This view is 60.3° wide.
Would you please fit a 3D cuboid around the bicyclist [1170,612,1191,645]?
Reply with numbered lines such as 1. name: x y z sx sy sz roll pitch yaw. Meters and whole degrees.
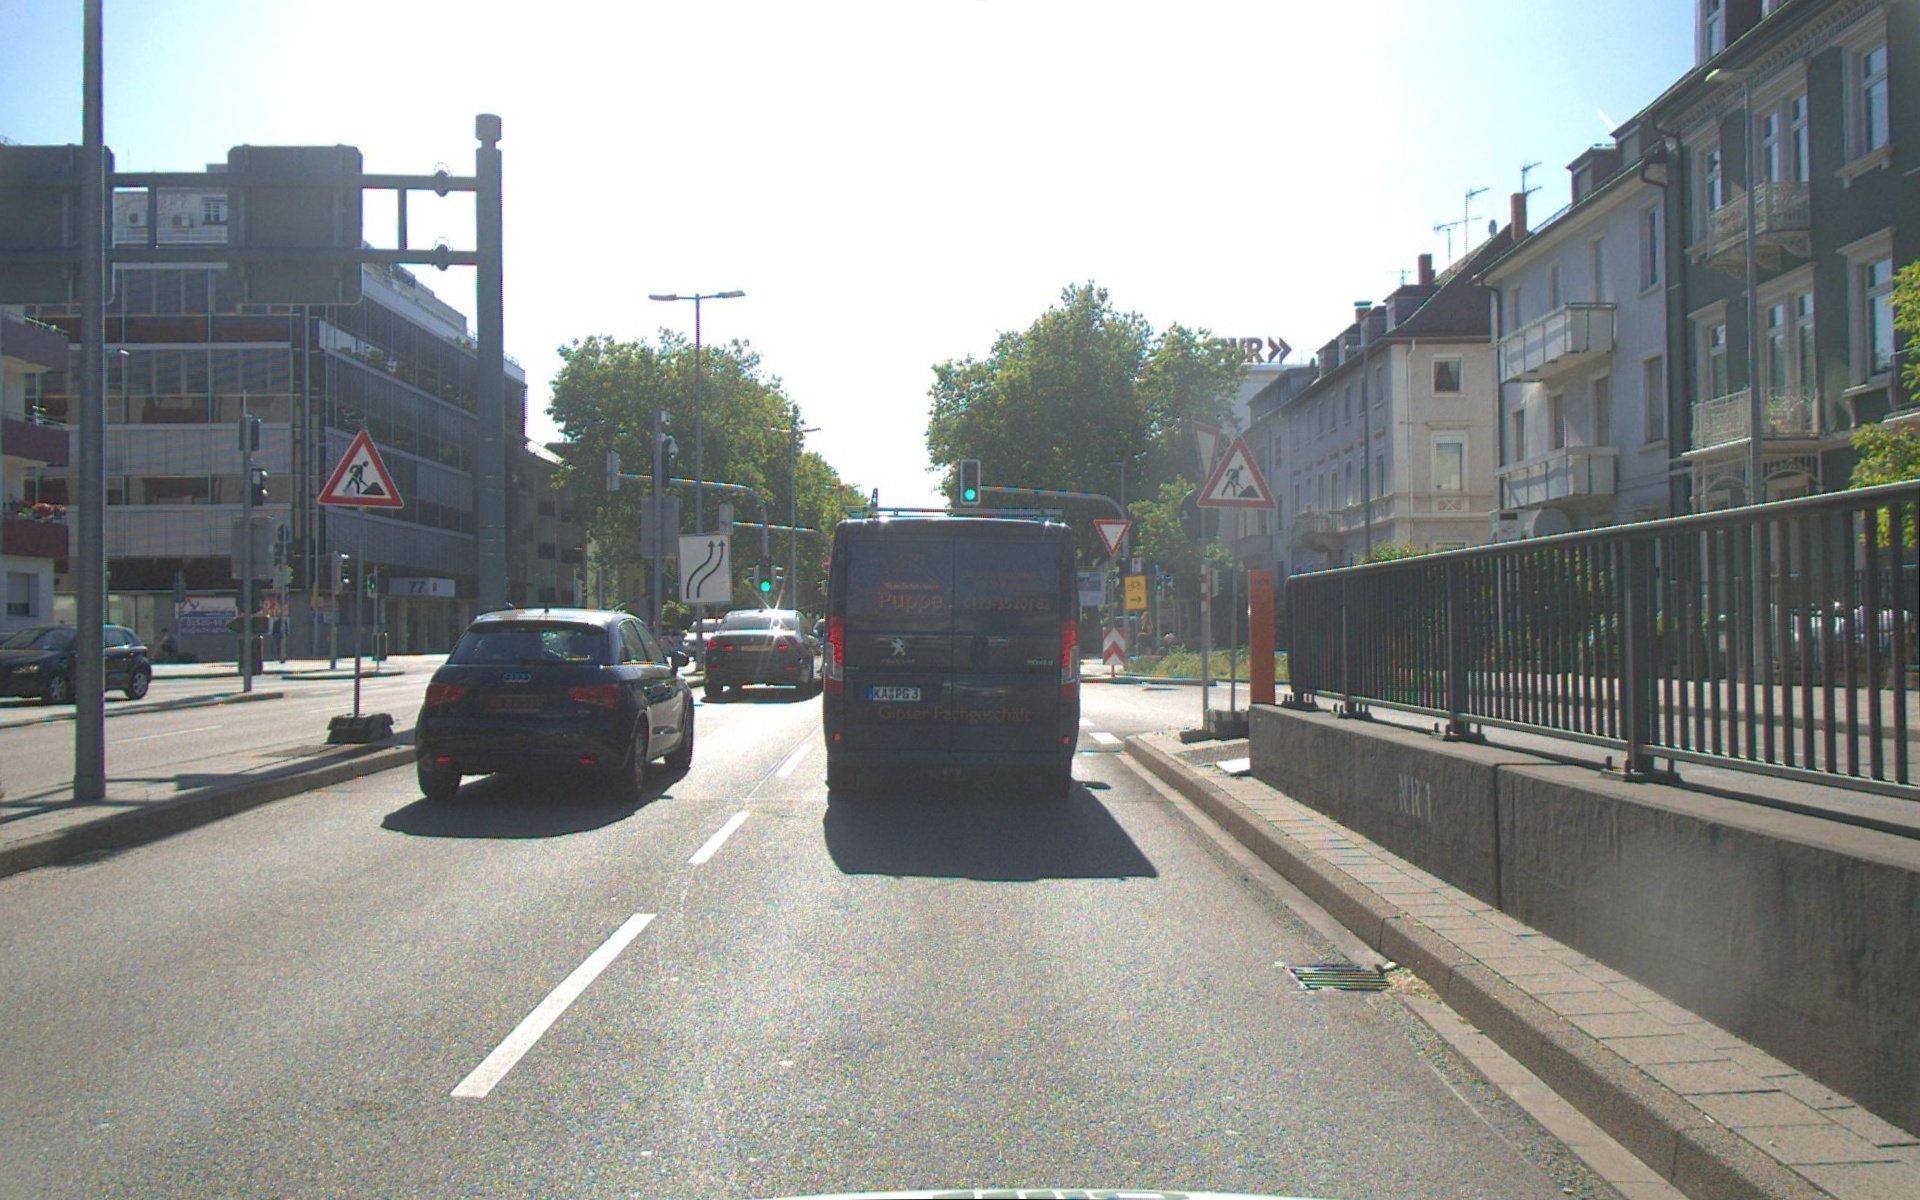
1. bicyclist: 10.264 1.334 77.143 0.711 1.526 0.868 0 -1 -12

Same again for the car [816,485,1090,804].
1. car: -0.080 0.331 14.431 2.052 2.396 3.932 0 0 -1

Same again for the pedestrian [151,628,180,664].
1. pedestrian: -26.694 1.538 55.612 0.704 1.173 0.786 0 -1 -12

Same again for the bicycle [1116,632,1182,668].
1. bicycle: 5.699 1.518 49.988 1.922 1.043 0.605 1 0 -1

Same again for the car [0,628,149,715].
1. car: -16.965 1.306 31.020 1.594 1.463 3.690 -2 0 1

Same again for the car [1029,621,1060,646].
1. car: 5.404 2.153 106.195 1.727 1.534 4.250 0 -1 0

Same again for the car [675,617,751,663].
1. car: -8.931 1.420 60.158 1.952 1.478 4.618 0 1 1

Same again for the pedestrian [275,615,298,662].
1. pedestrian: -24.904 1.419 61.136 0.691 1.687 0.739 0 -1 -30

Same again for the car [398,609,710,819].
1. car: -3.208 0.833 13.851 1.711 1.432 3.999 1 0 -2

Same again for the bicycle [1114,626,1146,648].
1. bicycle: 8.063 1.741 78.269 0.577 1.023 2.124 -1 -1 34

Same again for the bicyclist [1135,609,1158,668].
1. bicyclist: 5.643 1.162 50.048 0.591 1.738 0.858 -1 -1 0

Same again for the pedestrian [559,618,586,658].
1. pedestrian: -17.108 1.664 73.045 0.846 1.741 1.013 -1 -1 7

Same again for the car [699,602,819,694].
1. car: -3.445 0.787 28.939 1.711 1.432 3.999 1 1 -2

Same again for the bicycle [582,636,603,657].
1. bicycle: -18.836 2.388 84.885 0.614 1.055 1.879 0 -1 1

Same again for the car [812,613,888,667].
1. car: -3.198 1.158 48.927 1.871 1.469 4.602 1 0 0

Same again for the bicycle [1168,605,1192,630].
1. bicycle: 10.236 0.818 77.152 0.675 1.117 1.683 0 -1 -8

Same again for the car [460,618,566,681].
1. car: -11.684 1.262 43.454 1.574 1.466 4.310 -3 0 0
